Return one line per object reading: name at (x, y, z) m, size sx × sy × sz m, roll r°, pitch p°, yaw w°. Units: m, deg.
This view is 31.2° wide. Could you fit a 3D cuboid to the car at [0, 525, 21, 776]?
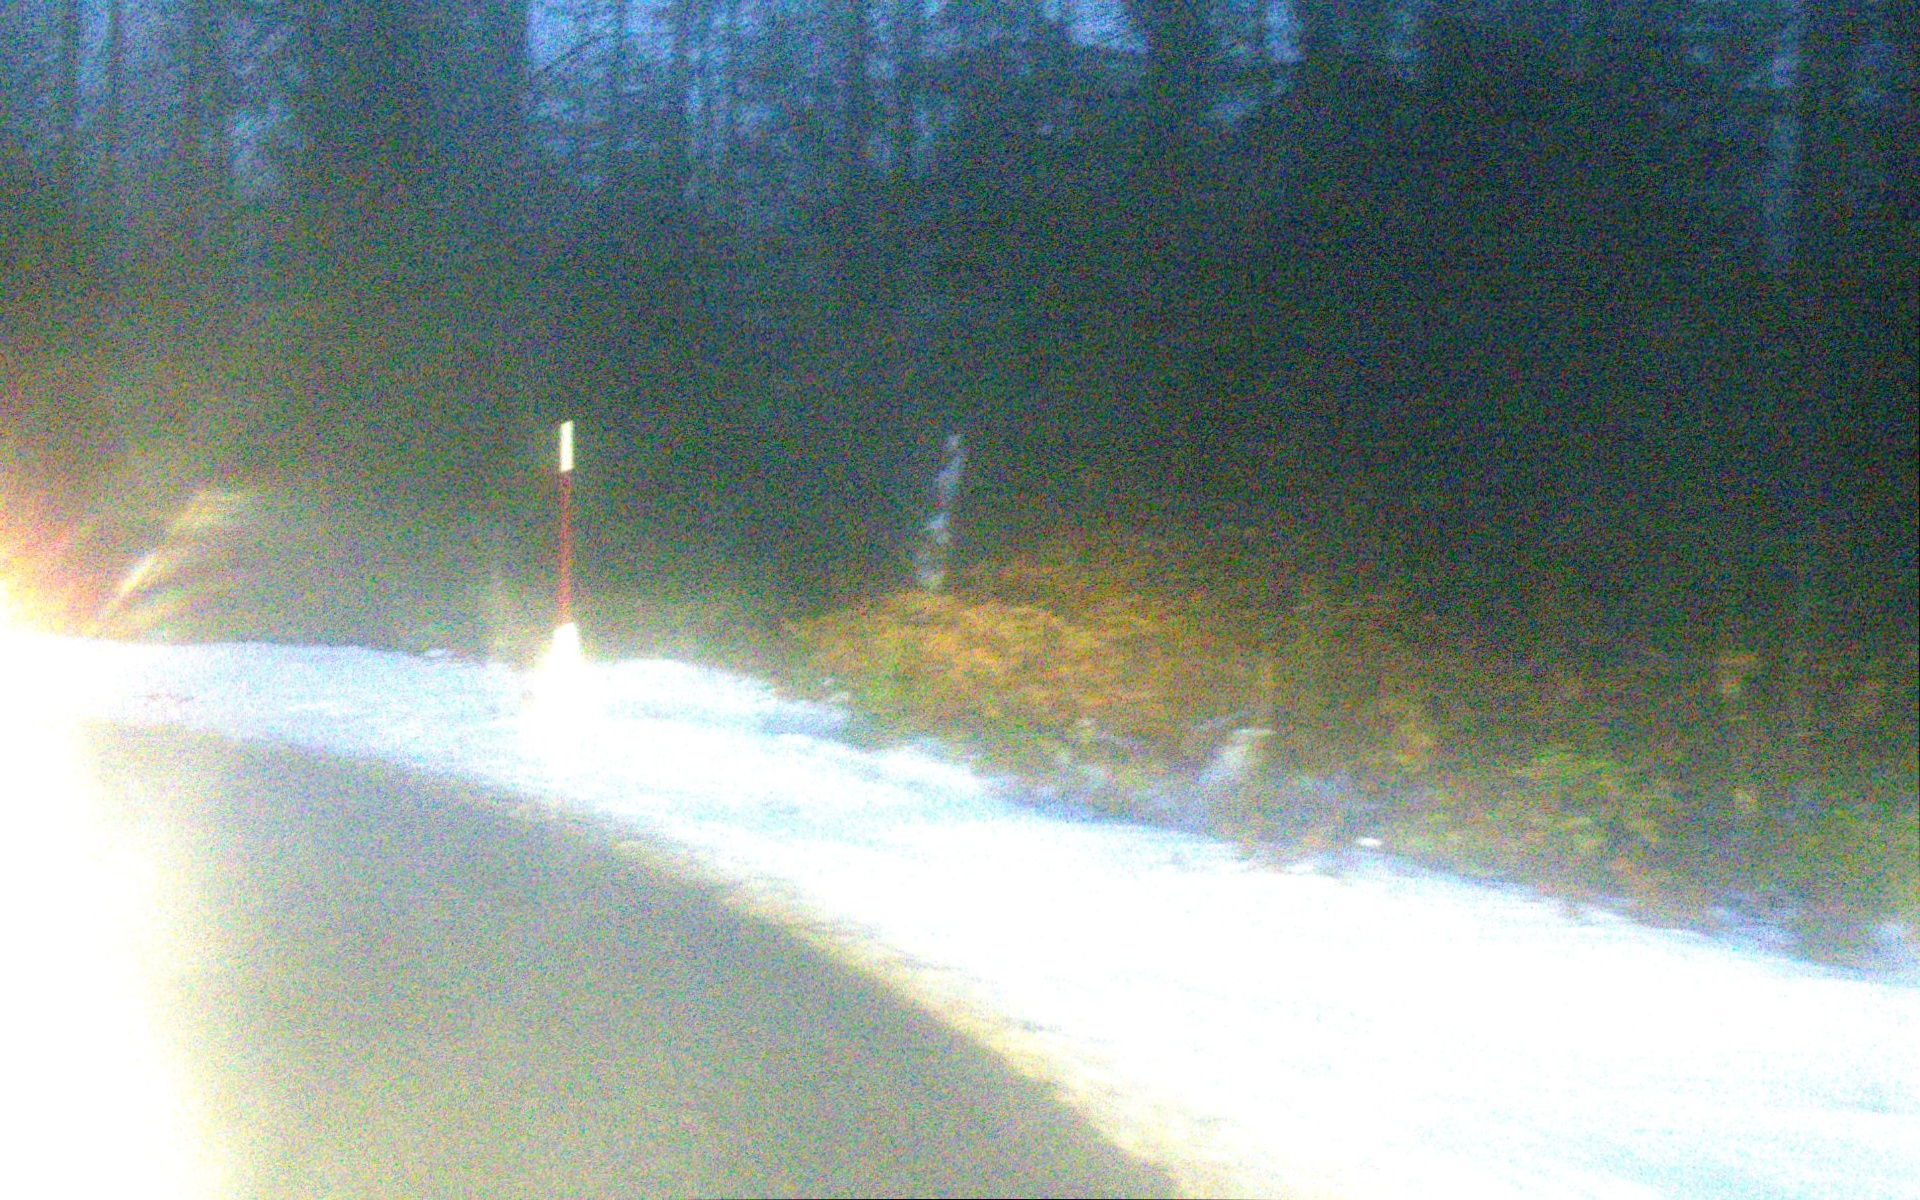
car at (-9.211, 0.426, 29.677) m, size 1.993 × 2.045 × 4.001 m, roll -1°, pitch 1°, yaw -17°
